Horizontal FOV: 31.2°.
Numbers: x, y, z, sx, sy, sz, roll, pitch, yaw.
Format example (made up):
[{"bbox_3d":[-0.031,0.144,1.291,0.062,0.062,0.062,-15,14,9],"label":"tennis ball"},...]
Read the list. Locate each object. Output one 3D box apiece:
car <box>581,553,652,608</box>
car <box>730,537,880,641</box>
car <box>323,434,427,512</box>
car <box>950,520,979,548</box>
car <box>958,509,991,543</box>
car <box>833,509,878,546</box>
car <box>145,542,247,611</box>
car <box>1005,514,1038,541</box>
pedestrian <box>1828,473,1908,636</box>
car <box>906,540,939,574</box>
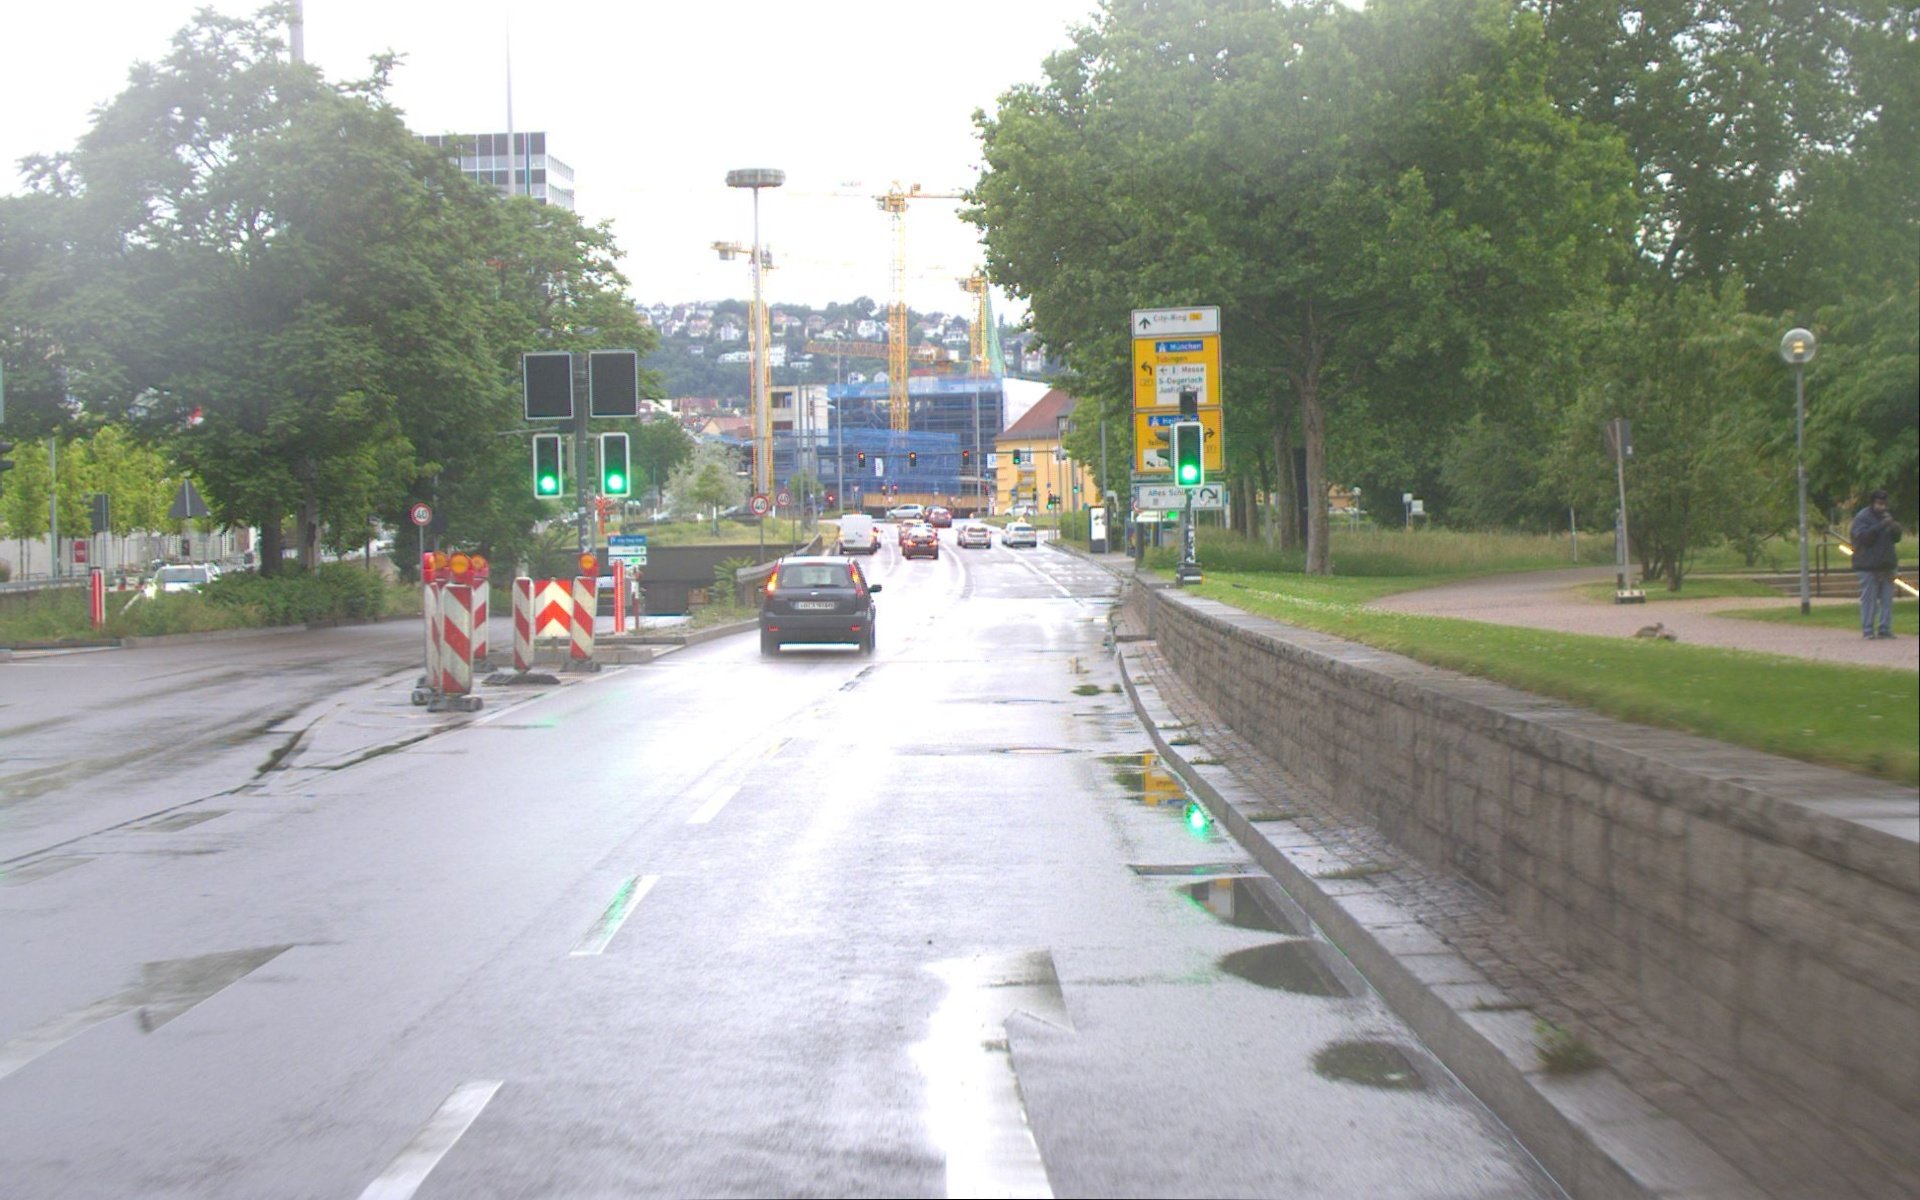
[{"bbox_3d":[-11.746,-0.674,117.808,1.993,1.775,4.000,-1,1,0],"label":"car"},{"bbox_3d":[-2.347,-0.187,51.245,1.843,1.411,3.840,-3,1,-8],"label":"car"},{"bbox_3d":[-13.145,-2.843,77.438,1.993,1.626,4.001,-1,1,-6],"label":"car"},{"bbox_3d":[0.281,-4.256,223.516,1.713,1.684,3.849,-3,0,2],"label":"car"},{"bbox_3d":[0.908,-4.688,217.967,1.987,2.007,4.000,-3,0,0],"label":"car"},{"bbox_3d":[-6.101,-4.244,201.382,2.220,2.007,3.999,1,0,4],"label":"car"},{"bbox_3d":[-21.866,-0.651,98.559,1.993,1.834,4.893,-3,0,-3],"label":"car"},{"bbox_3d":[3.993,-4.645,221.488,1.993,1.594,4.000,-3,0,2],"label":"car"},{"bbox_3d":[9.978,-0.501,37.806,0.594,1.749,0.725,-3,1,-3],"label":"pedestrian"},{"bbox_3d":[-2.084,-2.373,191.370,1.739,1.765,4.000,-3,0,0],"label":"car"}]
